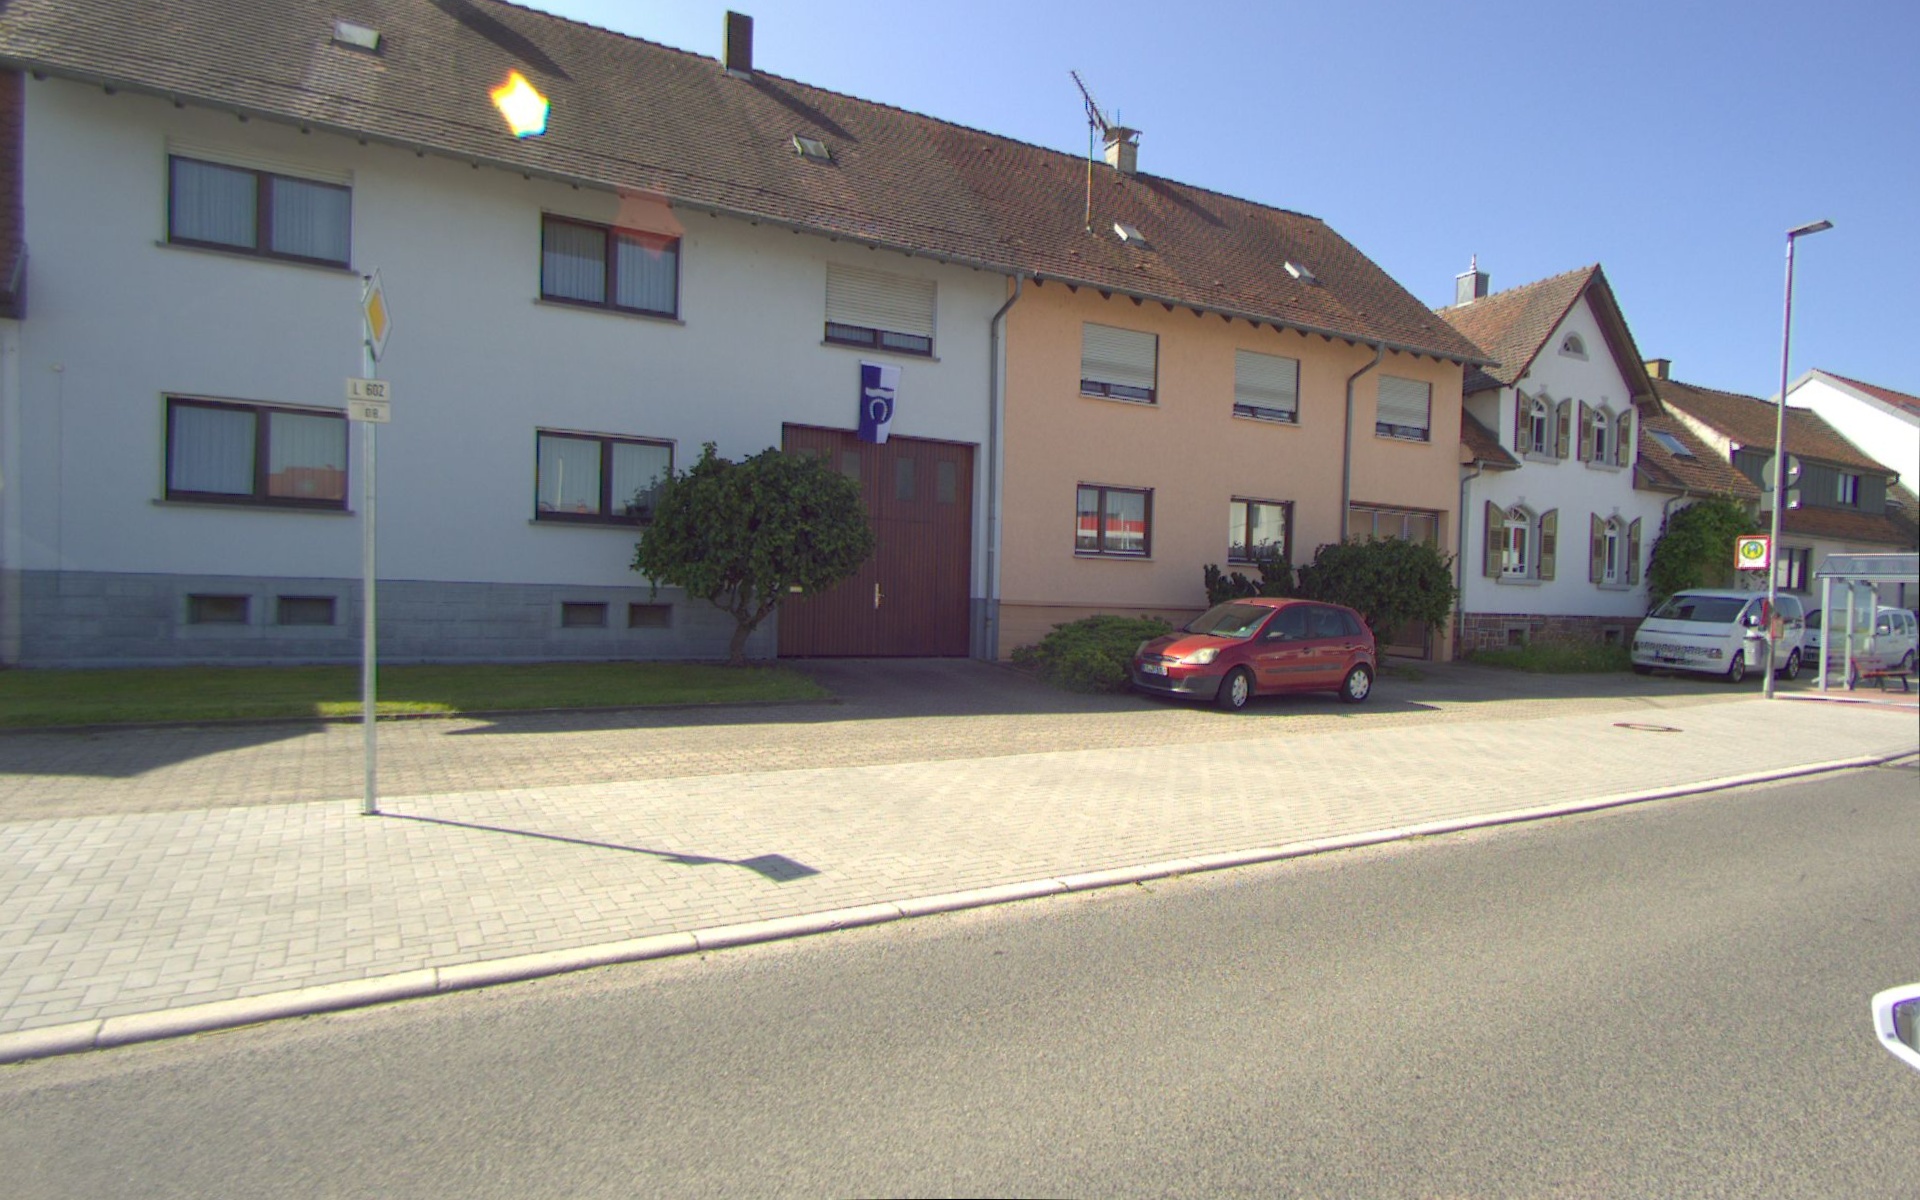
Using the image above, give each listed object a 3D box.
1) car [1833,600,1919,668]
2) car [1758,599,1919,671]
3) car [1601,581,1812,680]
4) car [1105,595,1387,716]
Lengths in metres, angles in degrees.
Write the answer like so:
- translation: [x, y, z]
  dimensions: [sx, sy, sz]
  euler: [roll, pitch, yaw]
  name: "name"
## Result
- translation: [28.466, 1.035, 30.093]
  dimensions: [4.284, 1.817, 1.831]
  euler: [2, 3, -25]
  name: "car"
- translation: [24.319, 0.967, 27.786]
  dimensions: [4.224, 1.798, 1.960]
  euler: [2, 0, -28]
  name: "car"
- translation: [17.127, 0.703, 22.978]
  dimensions: [5.208, 2.013, 2.114]
  euler: [2, 0, -33]
  name: "car"
- translation: [4.129, 0.698, 14.364]
  dimensions: [3.871, 1.473, 1.705]
  euler: [0, 2, -32]
  name: "car"
